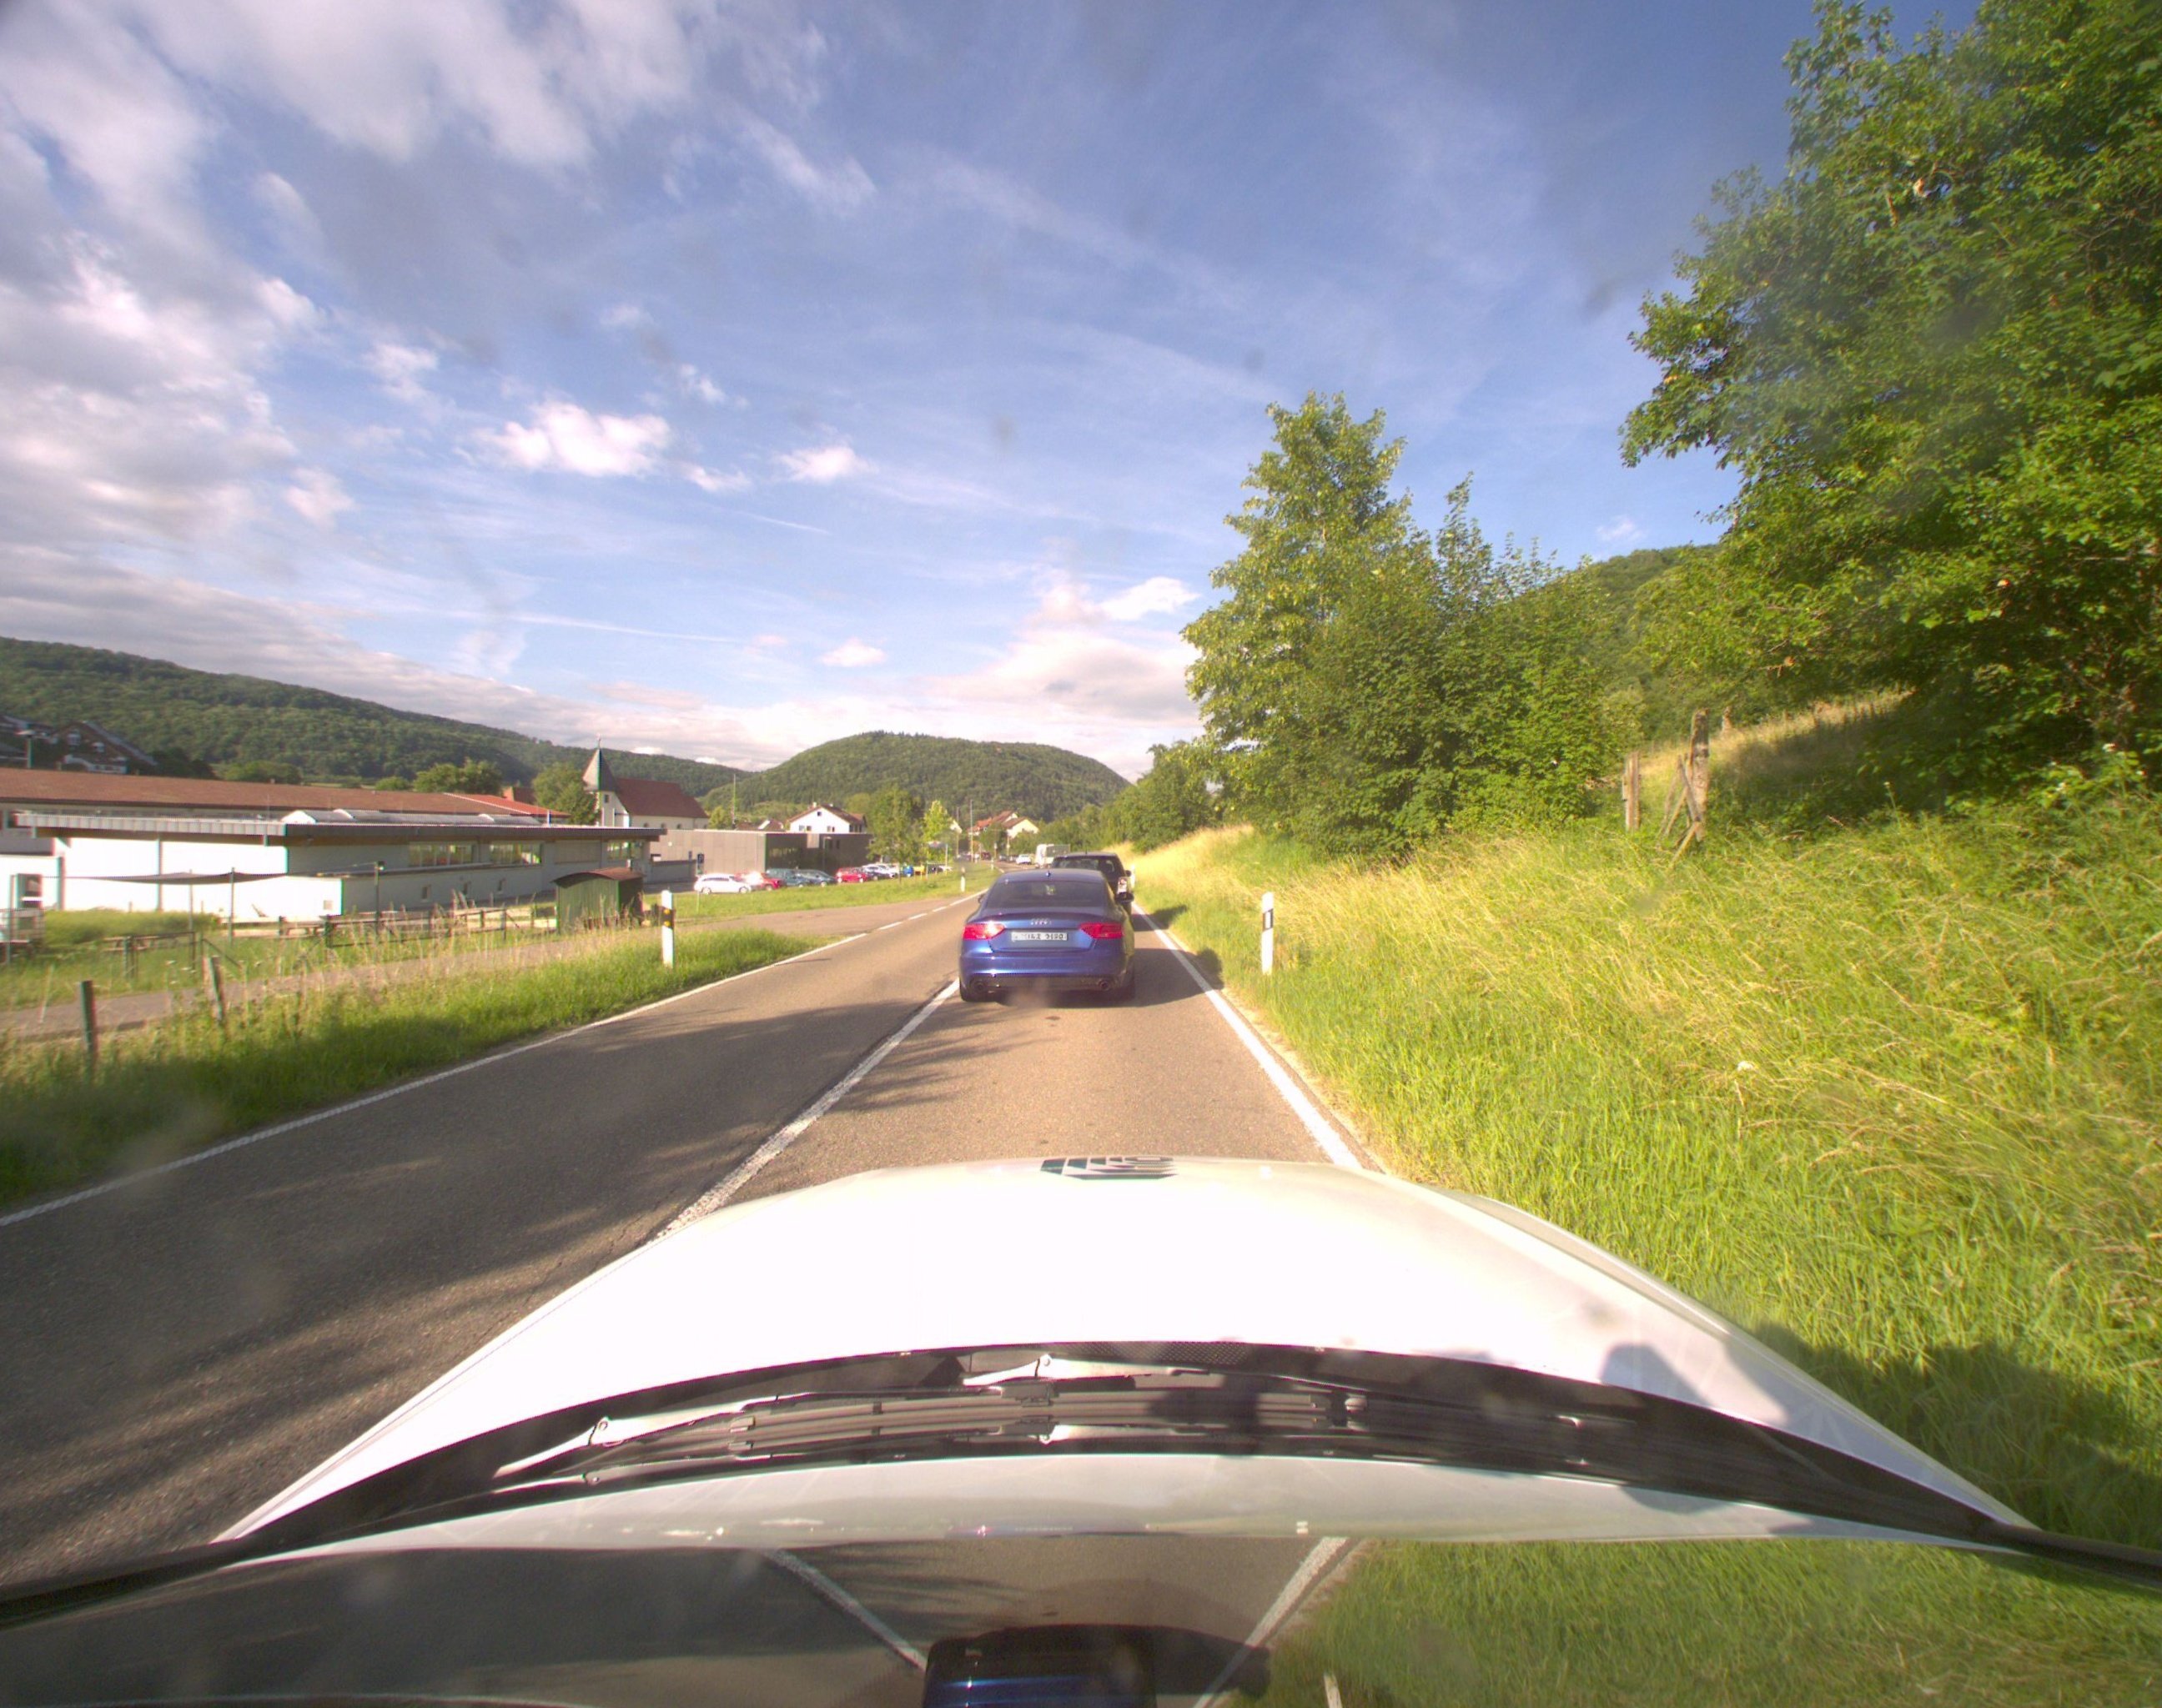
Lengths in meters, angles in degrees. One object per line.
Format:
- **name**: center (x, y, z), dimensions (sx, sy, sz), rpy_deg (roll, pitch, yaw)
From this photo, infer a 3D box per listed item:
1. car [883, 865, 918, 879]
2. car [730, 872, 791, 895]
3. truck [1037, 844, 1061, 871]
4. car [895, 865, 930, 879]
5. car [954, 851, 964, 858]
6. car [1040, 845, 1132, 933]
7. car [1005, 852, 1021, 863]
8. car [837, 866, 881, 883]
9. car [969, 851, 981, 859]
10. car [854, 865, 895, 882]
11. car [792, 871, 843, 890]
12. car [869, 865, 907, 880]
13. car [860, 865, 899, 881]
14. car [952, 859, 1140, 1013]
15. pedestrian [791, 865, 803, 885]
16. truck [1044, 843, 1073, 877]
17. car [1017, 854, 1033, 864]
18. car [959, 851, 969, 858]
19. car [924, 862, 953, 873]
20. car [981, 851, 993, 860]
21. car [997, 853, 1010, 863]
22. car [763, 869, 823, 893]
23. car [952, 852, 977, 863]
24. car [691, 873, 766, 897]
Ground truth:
- **car**: center (-22.559, 2.244, 102.045), dimensions (3.975, 1.711, 1.999), rpy_deg (0, -1, -1)
- **car**: center (-25.207, 2.337, 64.195), dimensions (3.975, 1.711, 1.999), rpy_deg (0, -1, -1)
- **truck**: center (-3.247, 0.337, 81.952), dimensions (2.225, 2.570, 6.700), rpy_deg (0, -1, -3)
- **car**: center (-21.645, 2.261, 104.699), dimensions (3.975, 1.711, 1.999), rpy_deg (0, -1, -1)
- **car**: center (-29.536, 0.154, 196.563), dimensions (1.849, 1.712, 3.978), rpy_deg (0, -1, -16)
- **car**: center (0.185, 0.687, 17.500), dimensions (1.747, 1.681, 3.849), rpy_deg (0, -1, 3)
- **car**: center (-10.717, 0.537, 128.192), dimensions (1.847, 1.712, 3.982), rpy_deg (0, -1, -13)
- **car**: center (-23.096, 2.091, 84.770), dimensions (3.975, 1.711, 1.999), rpy_deg (0, -1, -1)
- **car**: center (-22.467, 0.174, 172.639), dimensions (1.849, 1.712, 3.978), rpy_deg (0, -1, -16)
- **car**: center (-22.652, 2.129, 89.311), dimensions (3.975, 1.711, 1.999), rpy_deg (0, -1, -1)
- **car**: center (-24.093, 2.423, 74.488), dimensions (3.975, 1.711, 1.999), rpy_deg (0, -1, -1)
- **car**: center (-22.804, 2.193, 96.260), dimensions (3.975, 1.711, 1.999), rpy_deg (0, -1, -1)
- **car**: center (-23.011, 2.165, 92.978), dimensions (3.975, 1.711, 1.999), rpy_deg (0, -1, -1)
- **car**: center (-0.240, 0.783, 9.518), dimensions (1.747, 1.430, 3.849), rpy_deg (0, -1, 3)
- **pedestrian**: center (-29.321, 2.192, 84.151), dimensions (0.822, 2.014, 0.973), rpy_deg (0, -1, 1)
- **truck**: center (-1.820, 0.472, 65.845), dimensions (2.224, 2.570, 6.098), rpy_deg (0, -1, -2)
- **car**: center (-7.881, 0.702, 114.302), dimensions (1.845, 1.482, 3.987), rpy_deg (0, -1, -9)
- **car**: center (-27.117, 0.122, 188.853), dimensions (1.849, 1.712, 3.979), rpy_deg (0, -1, -15)
- **car**: center (-20.814, 1.944, 119.258), dimensions (3.975, 1.579, 1.752), rpy_deg (0, -1, -1)
- **car**: center (-18.656, 0.306, 161.975), dimensions (1.848, 1.712, 3.981), rpy_deg (0, -1, -14)
- **car**: center (-13.520, 0.639, 141.483), dimensions (1.847, 1.712, 3.982), rpy_deg (0, -1, -13)
- **car**: center (-24.708, 2.318, 69.998), dimensions (4.393, 2.008, 1.999), rpy_deg (0, -1, -1)
- **car**: center (-19.686, 0.629, 137.497), dimensions (3.949, 1.712, 1.863), rpy_deg (-1, -1, 30)
- **car**: center (-26.431, 2.320, 61.213), dimensions (4.717, 1.711, 1.999), rpy_deg (0, -1, -1)
